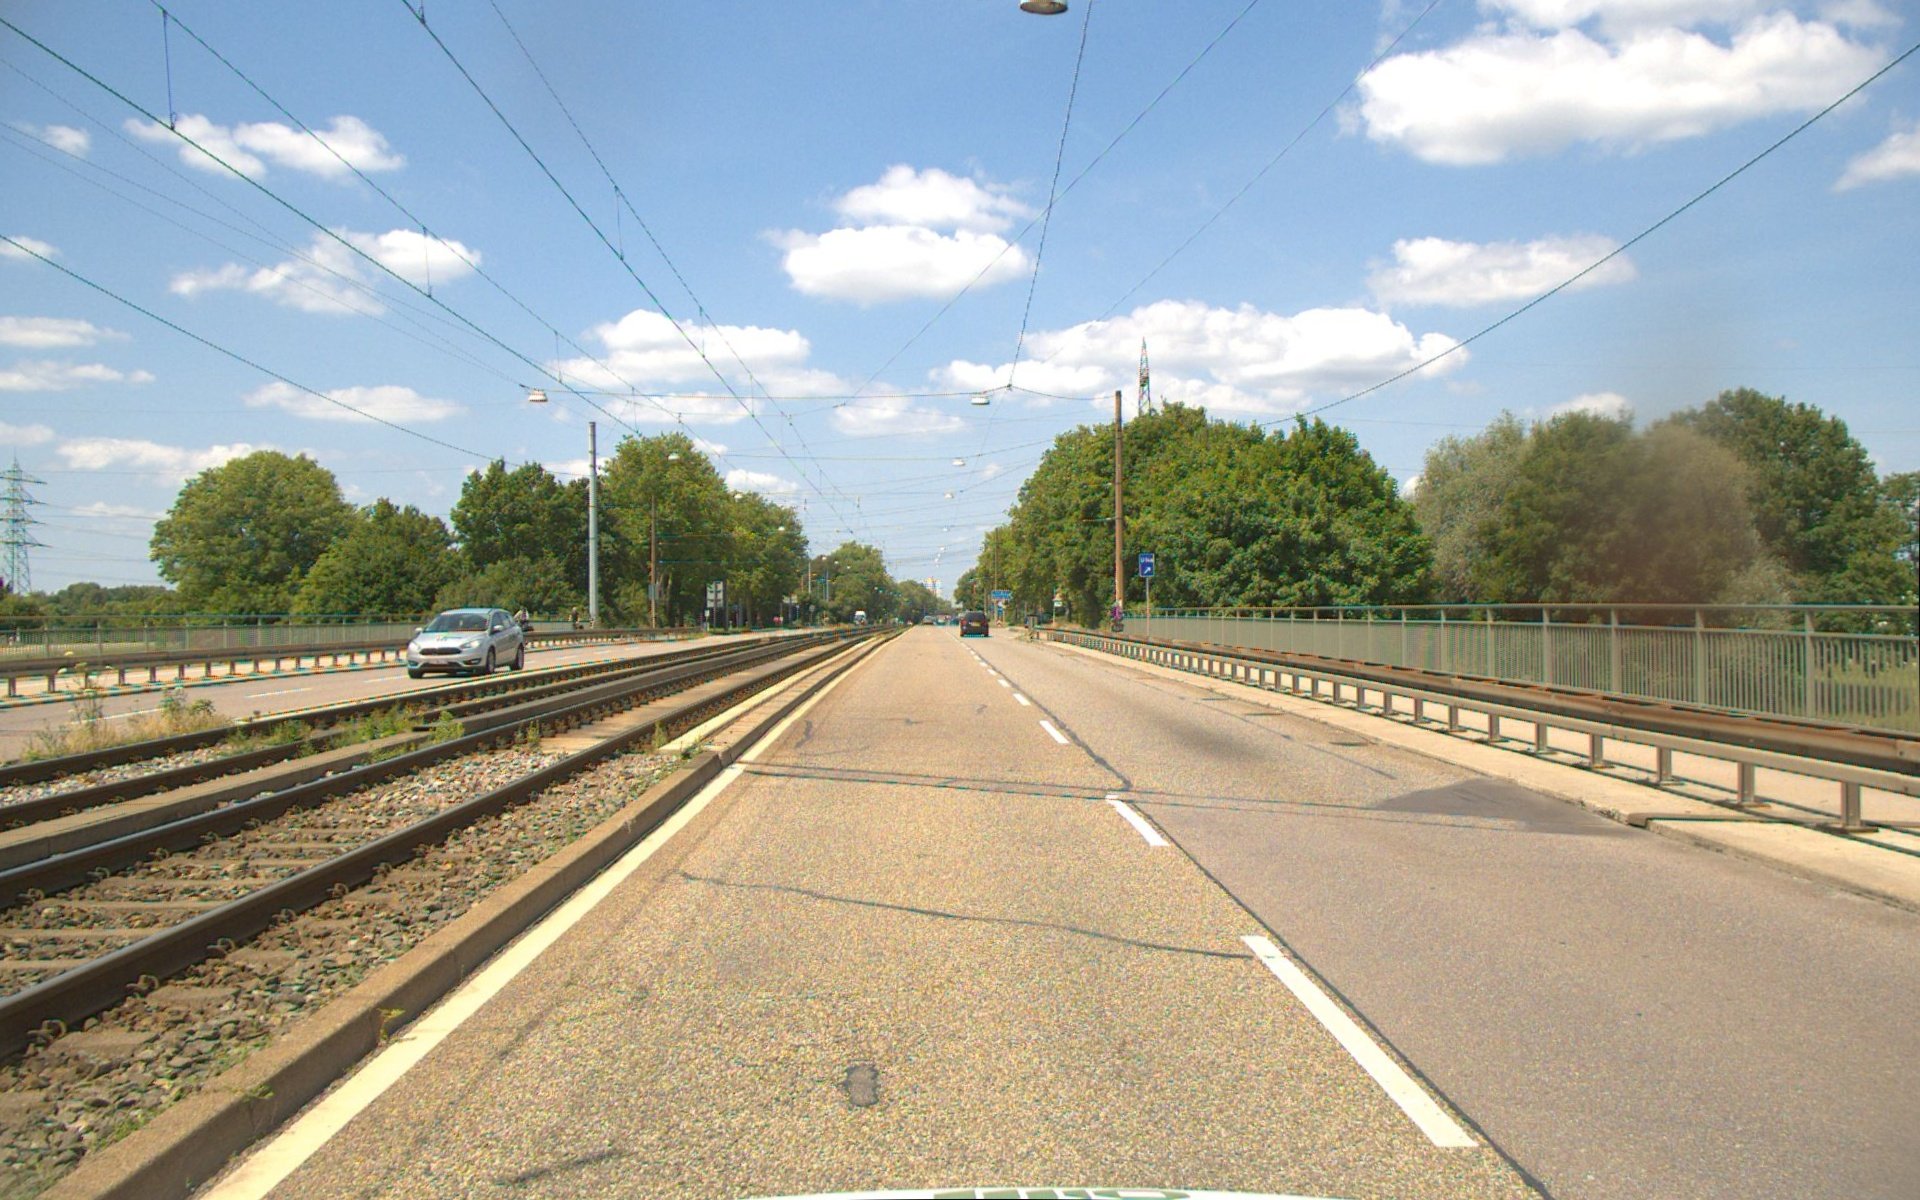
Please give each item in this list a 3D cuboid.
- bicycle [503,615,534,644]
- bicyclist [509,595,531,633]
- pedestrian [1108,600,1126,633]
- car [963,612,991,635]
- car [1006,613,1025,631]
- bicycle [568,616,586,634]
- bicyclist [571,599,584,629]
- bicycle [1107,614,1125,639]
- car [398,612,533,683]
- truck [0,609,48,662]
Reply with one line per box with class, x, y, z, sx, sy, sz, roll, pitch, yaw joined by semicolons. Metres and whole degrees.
bicycle;-19.237;1.284;72.171;0.839;1.206;2.061;1;-1;-2
bicyclist;-19.210;0.613;72.239;0.747;1.650;0.838;1;-1;-2
pedestrian;6.570;0.693;69.413;0.615;1.398;1.050;-1;-1;-1
car;1.030;1.472;103.624;1.554;1.366;3.270;-1;0;-3
car;6.232;2.532;187.098;1.953;2.004;3.999;0;-1;0
bicycle;-19.234;1.235;83.142;0.512;0.858;2.034;1;0;-3
bicyclist;-19.239;0.698;83.205;0.510;1.523;0.529;0;0;-3
bicycle;6.543;1.109;69.328;0.548;1.042;1.847;-1;-1;-1
car;-11.026;1.032;37.179;1.676;1.445;4.623;-2;-1;-1
truck;-109.736;3.946;187.551;10.682;5.735;3.257;3;0;-34
